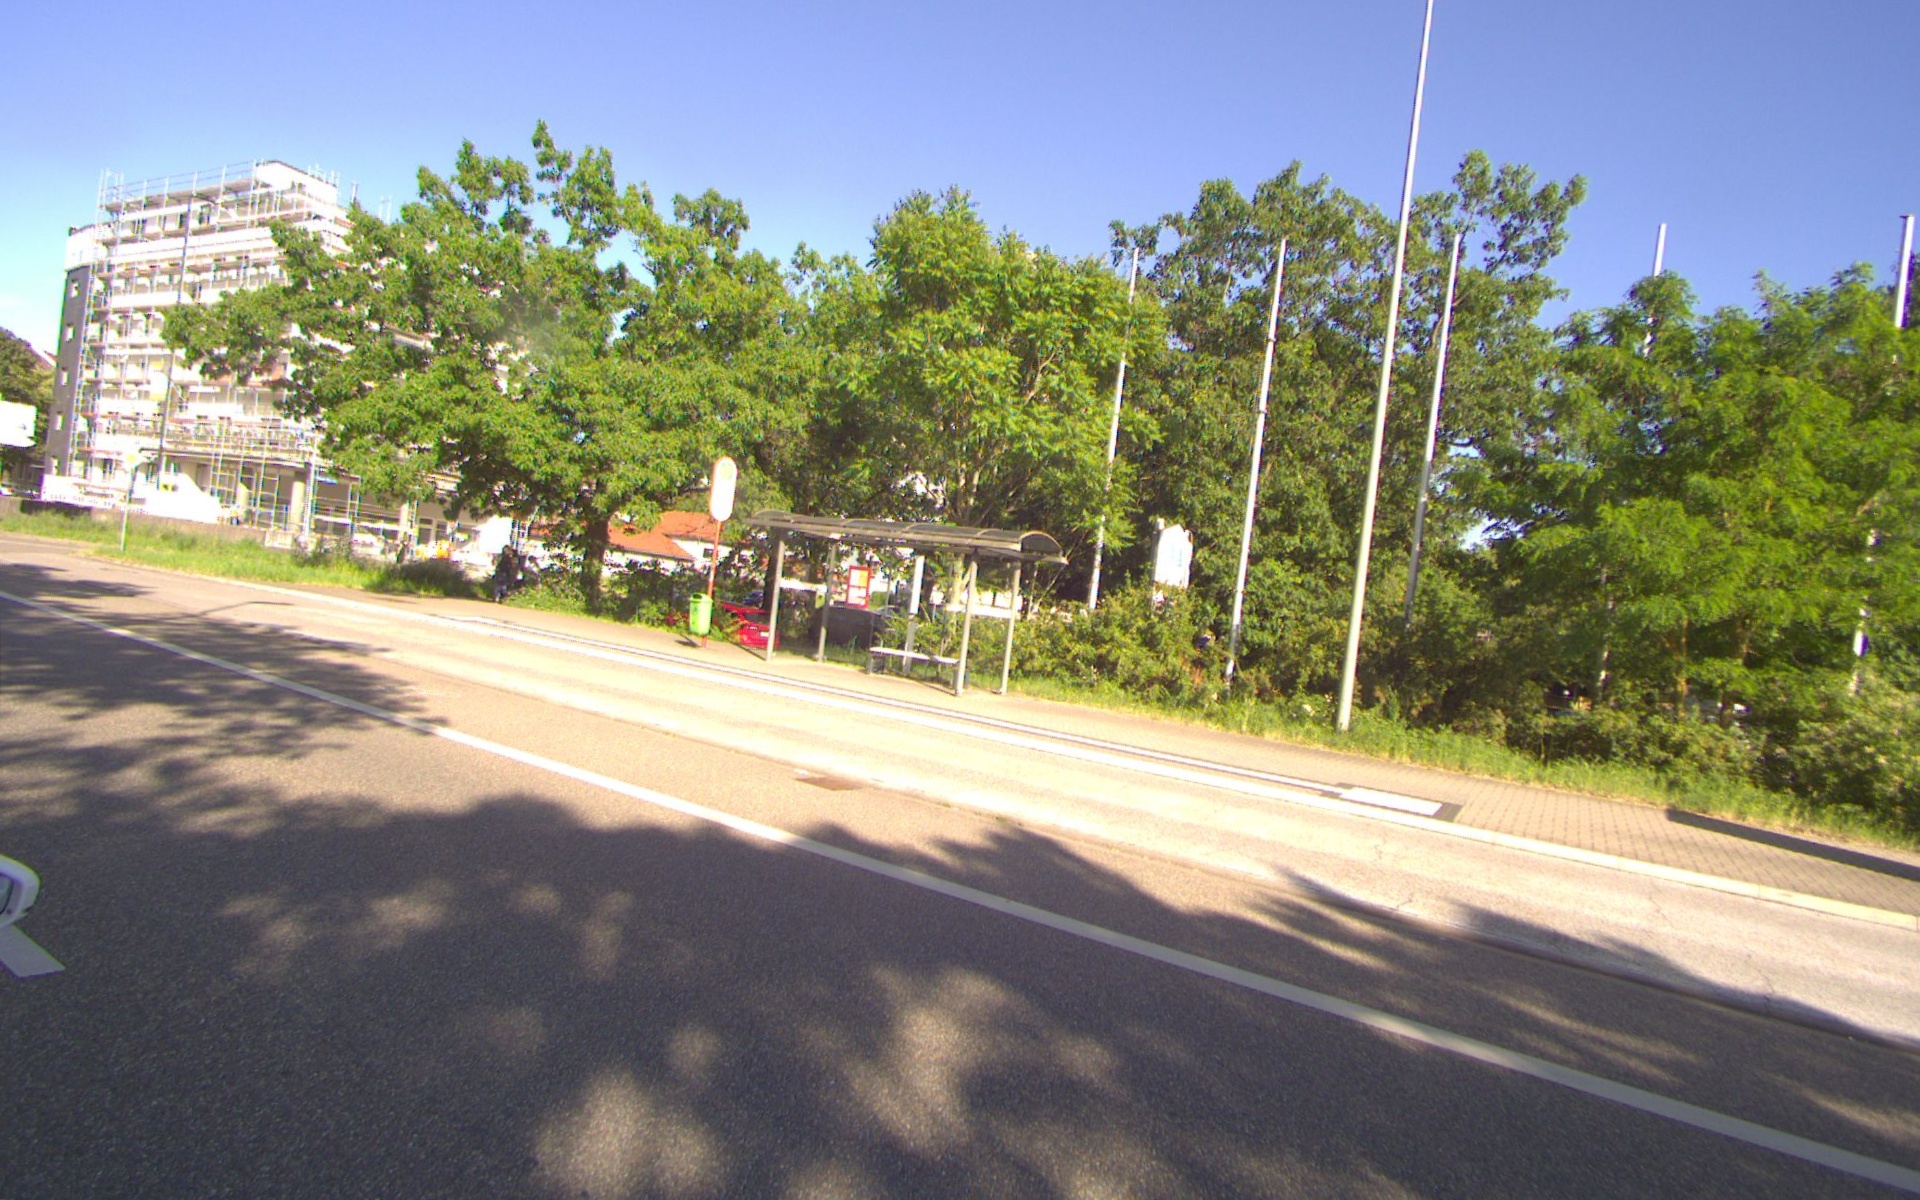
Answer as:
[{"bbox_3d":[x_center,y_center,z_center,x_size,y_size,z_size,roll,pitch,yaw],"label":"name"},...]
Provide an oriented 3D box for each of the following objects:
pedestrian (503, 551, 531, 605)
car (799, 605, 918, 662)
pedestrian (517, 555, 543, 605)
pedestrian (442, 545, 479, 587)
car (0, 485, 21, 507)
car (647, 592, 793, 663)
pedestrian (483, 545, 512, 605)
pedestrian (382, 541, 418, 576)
[{"bbox_3d":[-12.752,-0.630,28.957,0.517,1.465,0.587,7,1,-32],"label":"pedestrian"},{"bbox_3d":[-3.590,1.213,35.976,3.674,1.504,1.914,7,0,13],"label":"car"},{"bbox_3d":[-13.401,-0.632,31.324,0.517,1.465,0.587,7,1,-32],"label":"pedestrian"},{"bbox_3d":[-22.067,-1.502,44.474,0.969,1.674,0.891,7,0,4],"label":"pedestrian"},{"bbox_3d":[-66.549,-7.272,69.991,1.521,1.330,3.250,7,0,-40],"label":"car"},{"bbox_3d":[-6.873,0.795,28.742,3.680,1.504,1.755,7,0,28],"label":"car"},{"bbox_3d":[-13.039,-0.704,28.370,0.517,1.632,0.587,7,1,-32],"label":"pedestrian"},{"bbox_3d":[-25.591,-1.882,45.972,0.948,1.465,0.895,7,0,2],"label":"pedestrian"}]
